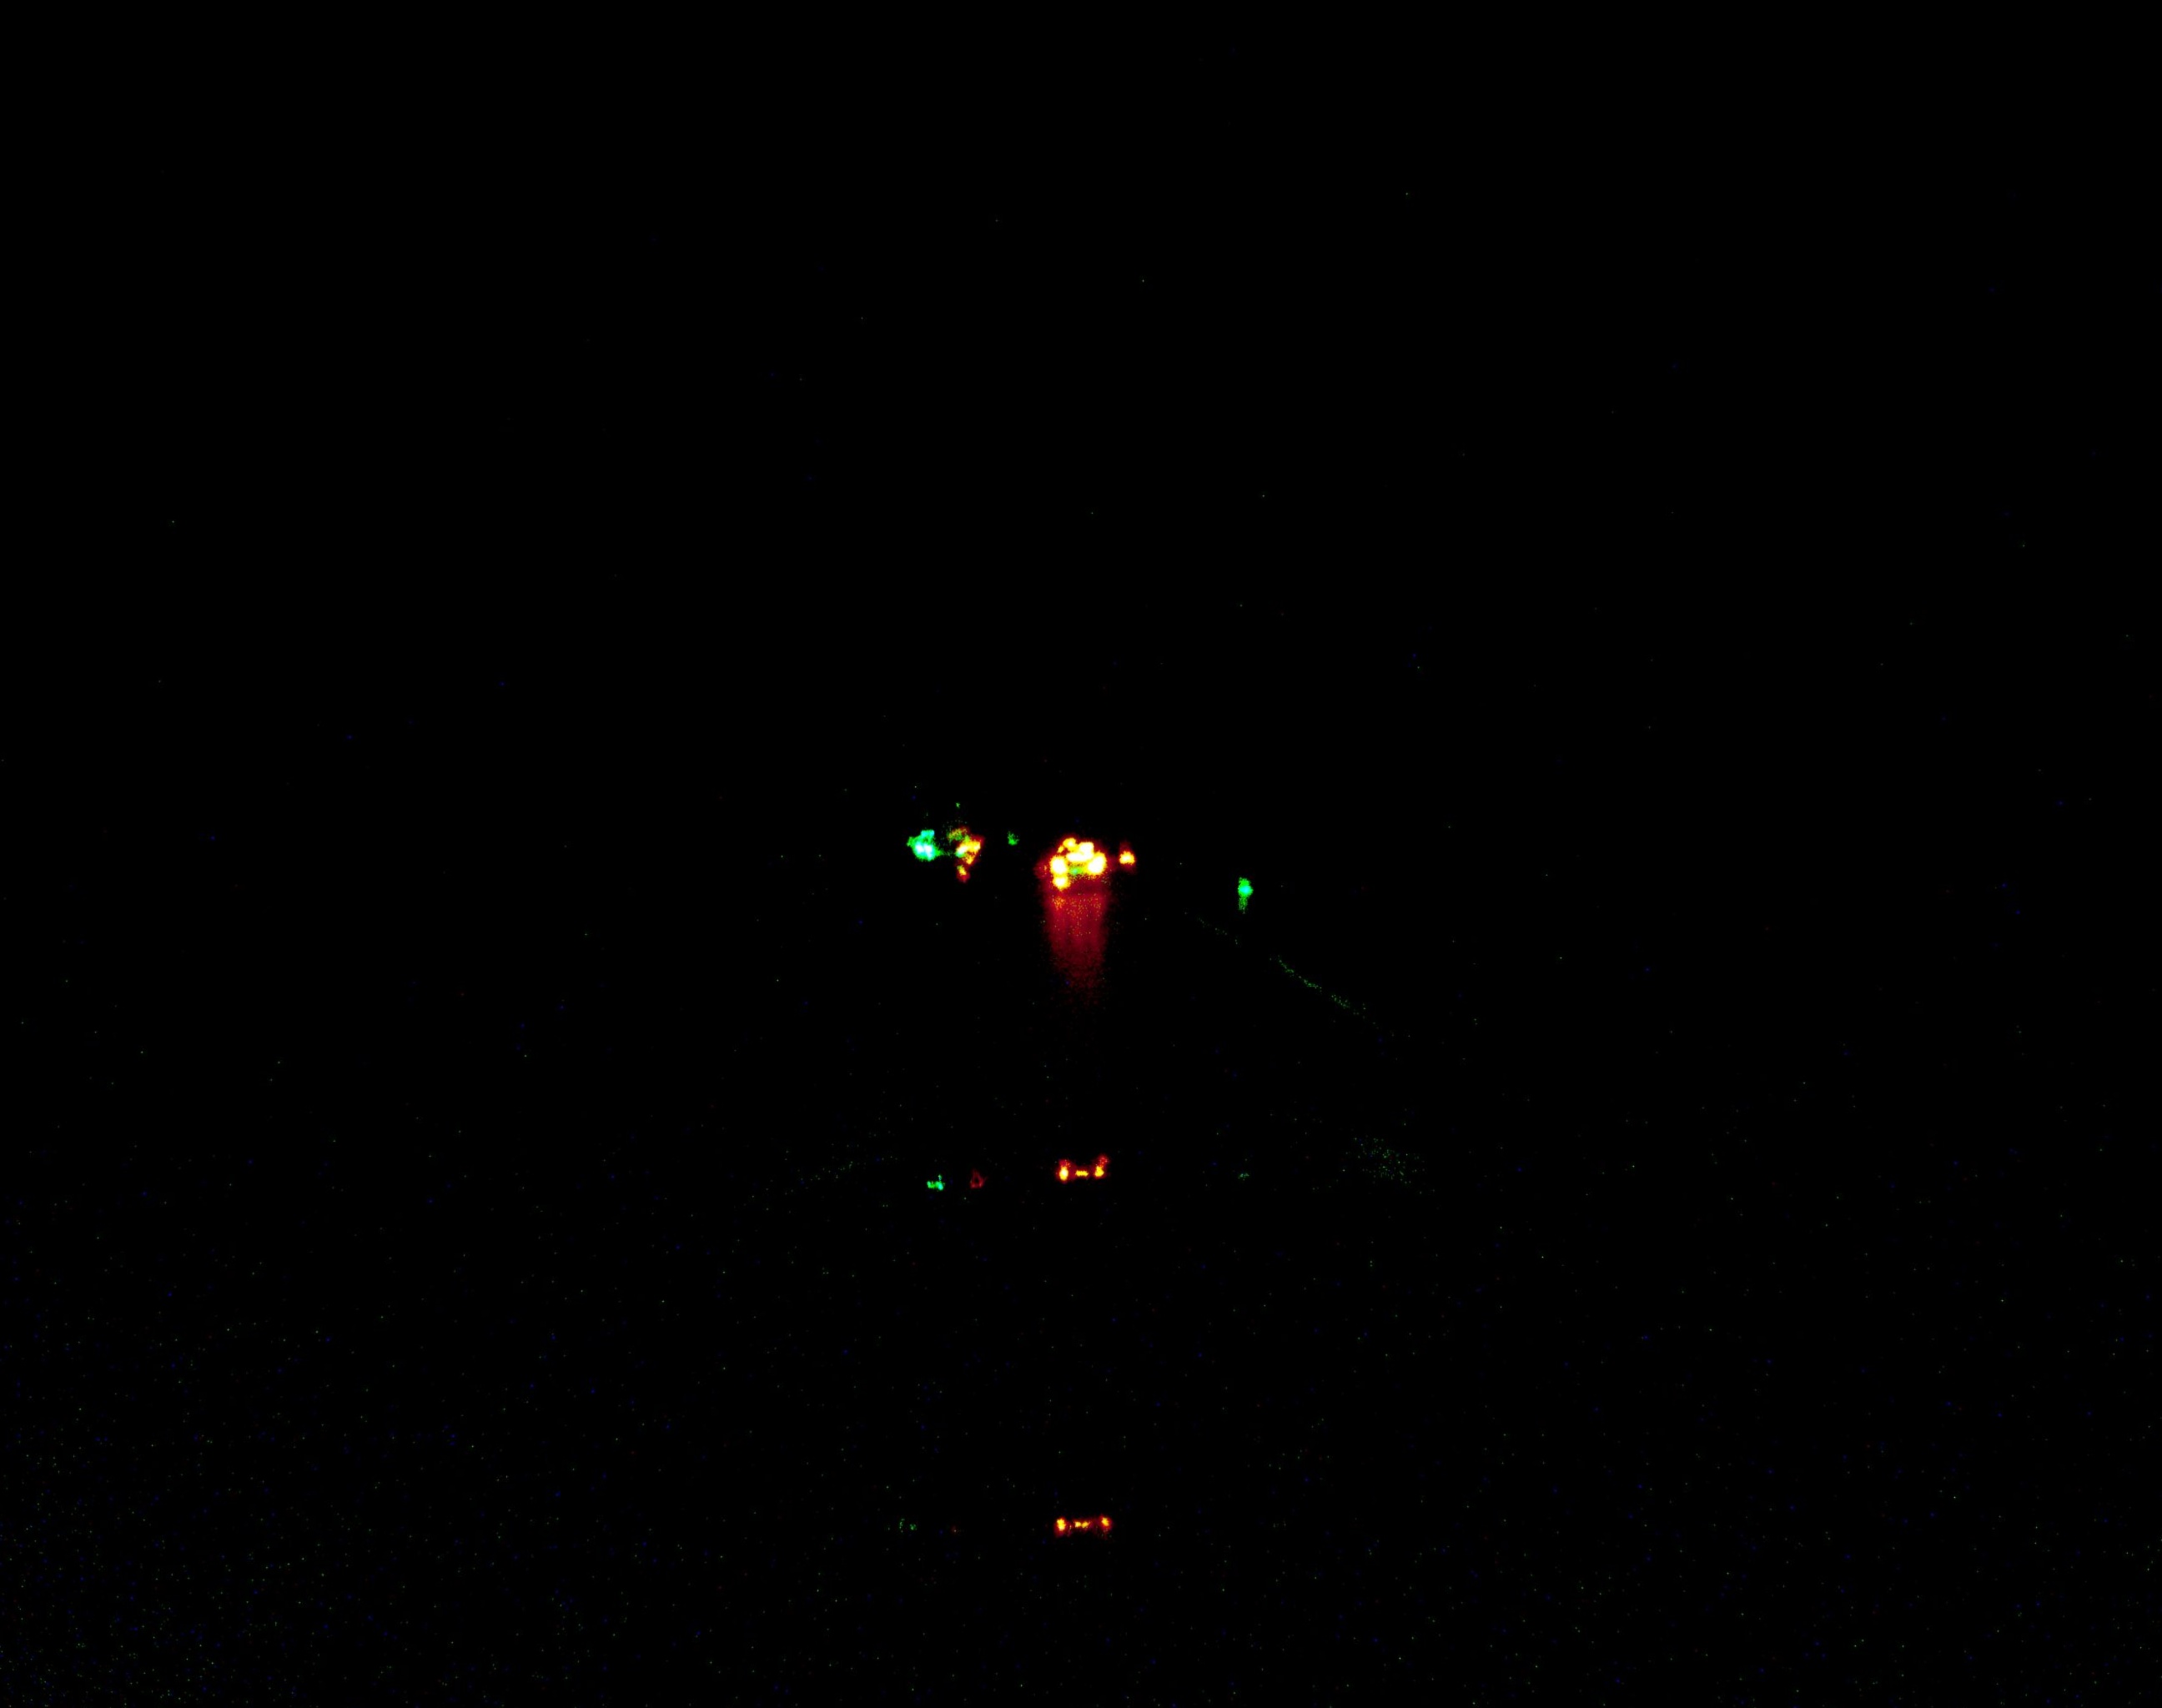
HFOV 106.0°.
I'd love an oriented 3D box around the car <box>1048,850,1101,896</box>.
[{"bbox_3d":[-0.345,0.690,32.655,1.989,1.628,4.980,0,1,-3],"label":"car"}]
